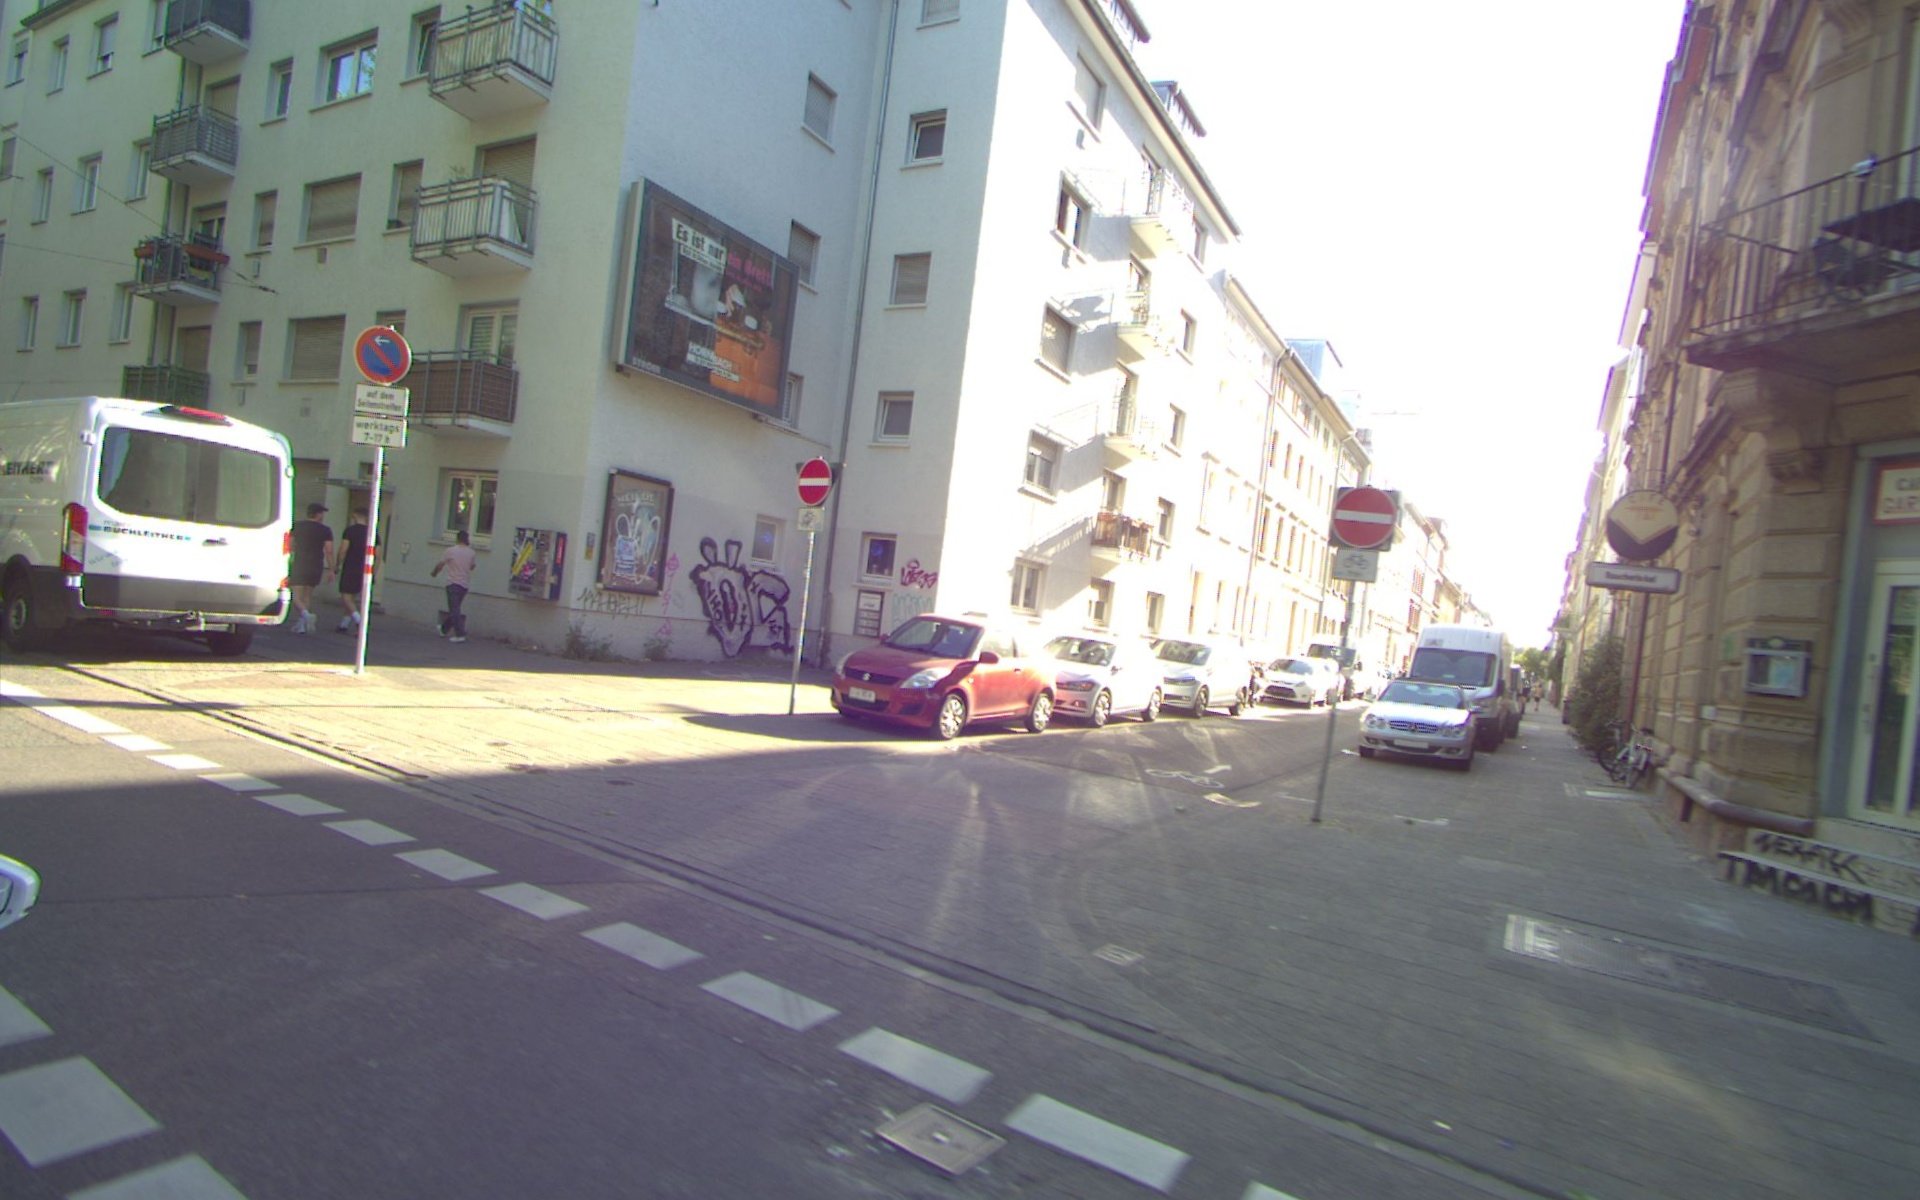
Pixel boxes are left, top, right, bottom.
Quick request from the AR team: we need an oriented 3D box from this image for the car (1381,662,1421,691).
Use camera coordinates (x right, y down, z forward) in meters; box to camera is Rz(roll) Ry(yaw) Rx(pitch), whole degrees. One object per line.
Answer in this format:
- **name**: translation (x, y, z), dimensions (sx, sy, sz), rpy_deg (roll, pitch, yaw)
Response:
- **car**: translation (27.653, 4.784, 62.980), dimensions (1.731, 1.548, 3.994), rpy_deg (7, 0, 30)

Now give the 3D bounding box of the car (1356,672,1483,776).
- **car**: translation (8.220, 2.087, 17.806), dimensions (1.672, 1.394, 3.995), rpy_deg (7, 0, 28)

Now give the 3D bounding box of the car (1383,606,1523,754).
- **car**: translation (11.629, 1.843, 23.484), dimensions (2.203, 2.810, 5.533), rpy_deg (7, 0, 31)

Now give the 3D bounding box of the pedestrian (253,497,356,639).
- **pedestrian**: translation (-9.058, -0.439, 13.906), dimensions (1.064, 1.846, 0.710), rpy_deg (6, 1, 32)

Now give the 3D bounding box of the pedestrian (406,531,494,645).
- **pedestrian**: translation (-7.749, -0.177, 15.291), dimensions (0.918, 1.599, 0.633), rpy_deg (6, -2, 32)

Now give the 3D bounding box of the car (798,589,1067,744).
- **car**: translation (-0.223, 0.898, 13.510), dimensions (1.760, 1.593, 3.655), rpy_deg (8, 0, 31)

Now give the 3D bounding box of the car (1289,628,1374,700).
- **car**: translation (14.934, 2.586, 40.242), dimensions (2.111, 2.428, 5.641), rpy_deg (7, 0, 29)

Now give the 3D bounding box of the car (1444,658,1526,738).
- **car**: translation (15.082, 2.746, 28.914), dimensions (1.745, 1.888, 4.673), rpy_deg (7, 0, 28)

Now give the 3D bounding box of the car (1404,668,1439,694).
- **car**: translation (32.518, 5.731, 70.827), dimensions (1.731, 1.548, 3.994), rpy_deg (7, 0, 30)

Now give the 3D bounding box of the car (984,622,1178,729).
- **car**: translation (2.242, 1.311, 17.653), dimensions (1.760, 1.473, 4.030), rpy_deg (7, 0, 31)

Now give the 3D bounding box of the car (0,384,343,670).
- **car**: translation (-9.858, -0.866, 11.394), dimensions (5.985, 2.526, 2.152), rpy_deg (6, 0, 30)

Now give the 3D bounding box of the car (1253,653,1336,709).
- **car**: translation (10.446, 2.503, 31.238), dimensions (1.634, 1.423, 4.146), rpy_deg (7, -1, 28)

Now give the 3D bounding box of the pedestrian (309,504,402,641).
- **pedestrian**: translation (-8.708, -0.393, 14.479), dimensions (1.064, 1.846, 0.625), rpy_deg (6, 2, 33)

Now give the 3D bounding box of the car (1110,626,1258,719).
- **car**: translation (5.046, 1.620, 22.212), dimensions (1.760, 1.656, 4.253), rpy_deg (7, -1, 31)

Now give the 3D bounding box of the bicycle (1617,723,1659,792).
- **bicycle**: translation (11.055, 2.551, 16.424), dimensions (0.373, 0.973, 1.370), rpy_deg (7, 0, 30)

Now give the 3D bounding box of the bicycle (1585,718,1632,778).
- **bicycle**: translation (12.166, 2.756, 18.894), dimensions (0.372, 0.973, 1.372), rpy_deg (7, 0, 21)
